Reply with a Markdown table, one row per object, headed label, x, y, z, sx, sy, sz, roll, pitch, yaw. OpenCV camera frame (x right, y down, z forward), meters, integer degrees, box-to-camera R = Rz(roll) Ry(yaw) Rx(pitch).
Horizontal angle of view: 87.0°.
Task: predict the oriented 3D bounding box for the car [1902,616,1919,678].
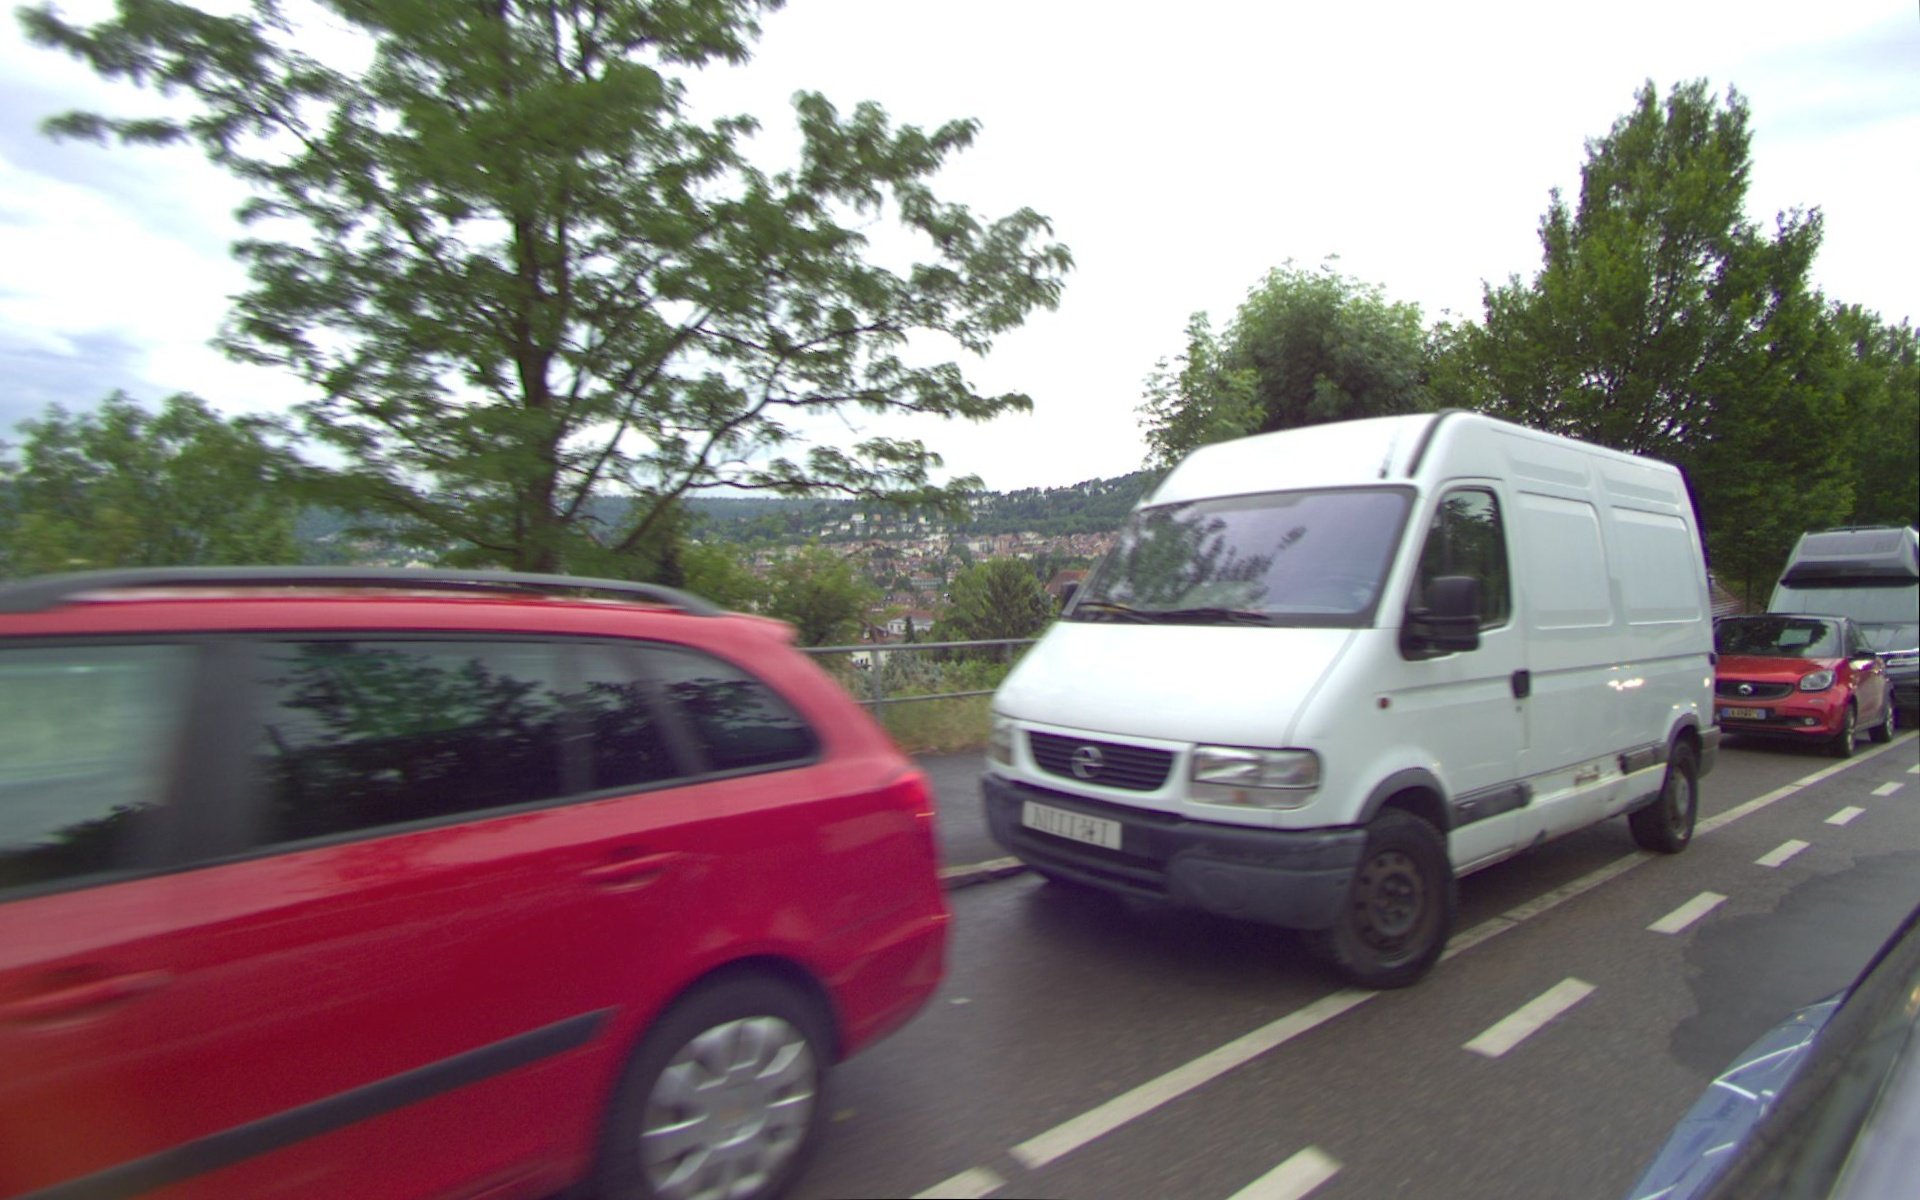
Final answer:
| label | x | y | z | sx | sy | sz | roll | pitch | yaw |
| --- | --- | --- | --- | --- | --- | --- | --- | --- | --- |
| car | 23.622 | 1.089 | 23.769 | 4.325 | 1.392 | 1.723 | 1 | -1 | -41 |

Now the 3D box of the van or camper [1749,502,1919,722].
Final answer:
| label | x | y | z | sx | sy | sz | roll | pitch | yaw |
| --- | --- | --- | --- | --- | --- | --- | --- | --- | --- |
| van or camper | 14.490 | 0.185 | 15.920 | 5.624 | 2.947 | 2.129 | 1 | 0 | -40 |

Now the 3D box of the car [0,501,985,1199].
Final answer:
| label | x | y | z | sx | sy | sz | roll | pitch | yaw |
| --- | --- | --- | --- | --- | --- | --- | --- | --- | --- |
| car | -2.020 | 0.606 | 2.038 | 4.142 | 1.559 | 1.623 | 1 | 1 | -42 |

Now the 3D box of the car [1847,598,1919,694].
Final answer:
| label | x | y | z | sx | sy | sz | roll | pitch | yaw |
| --- | --- | --- | --- | --- | --- | --- | --- | --- | --- |
| car | 19.257 | 0.877 | 20.103 | 4.322 | 1.771 | 1.724 | 1 | -1 | -39 |

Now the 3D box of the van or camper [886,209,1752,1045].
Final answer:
| label | x | y | z | sx | sy | sz | roll | pitch | yaw |
| --- | --- | --- | --- | --- | --- | --- | --- | --- | --- |
| van or camper | 2.446 | 0.104 | 5.799 | 5.493 | 2.695 | 2.079 | 1 | 0 | -39 |

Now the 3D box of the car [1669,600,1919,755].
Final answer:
| label | x | y | z | sx | sy | sz | roll | pitch | yaw |
| --- | --- | --- | --- | --- | --- | --- | --- | --- | --- |
| car | 10.123 | 0.812 | 12.188 | 3.764 | 1.559 | 1.685 | 1 | 0 | -40 |
